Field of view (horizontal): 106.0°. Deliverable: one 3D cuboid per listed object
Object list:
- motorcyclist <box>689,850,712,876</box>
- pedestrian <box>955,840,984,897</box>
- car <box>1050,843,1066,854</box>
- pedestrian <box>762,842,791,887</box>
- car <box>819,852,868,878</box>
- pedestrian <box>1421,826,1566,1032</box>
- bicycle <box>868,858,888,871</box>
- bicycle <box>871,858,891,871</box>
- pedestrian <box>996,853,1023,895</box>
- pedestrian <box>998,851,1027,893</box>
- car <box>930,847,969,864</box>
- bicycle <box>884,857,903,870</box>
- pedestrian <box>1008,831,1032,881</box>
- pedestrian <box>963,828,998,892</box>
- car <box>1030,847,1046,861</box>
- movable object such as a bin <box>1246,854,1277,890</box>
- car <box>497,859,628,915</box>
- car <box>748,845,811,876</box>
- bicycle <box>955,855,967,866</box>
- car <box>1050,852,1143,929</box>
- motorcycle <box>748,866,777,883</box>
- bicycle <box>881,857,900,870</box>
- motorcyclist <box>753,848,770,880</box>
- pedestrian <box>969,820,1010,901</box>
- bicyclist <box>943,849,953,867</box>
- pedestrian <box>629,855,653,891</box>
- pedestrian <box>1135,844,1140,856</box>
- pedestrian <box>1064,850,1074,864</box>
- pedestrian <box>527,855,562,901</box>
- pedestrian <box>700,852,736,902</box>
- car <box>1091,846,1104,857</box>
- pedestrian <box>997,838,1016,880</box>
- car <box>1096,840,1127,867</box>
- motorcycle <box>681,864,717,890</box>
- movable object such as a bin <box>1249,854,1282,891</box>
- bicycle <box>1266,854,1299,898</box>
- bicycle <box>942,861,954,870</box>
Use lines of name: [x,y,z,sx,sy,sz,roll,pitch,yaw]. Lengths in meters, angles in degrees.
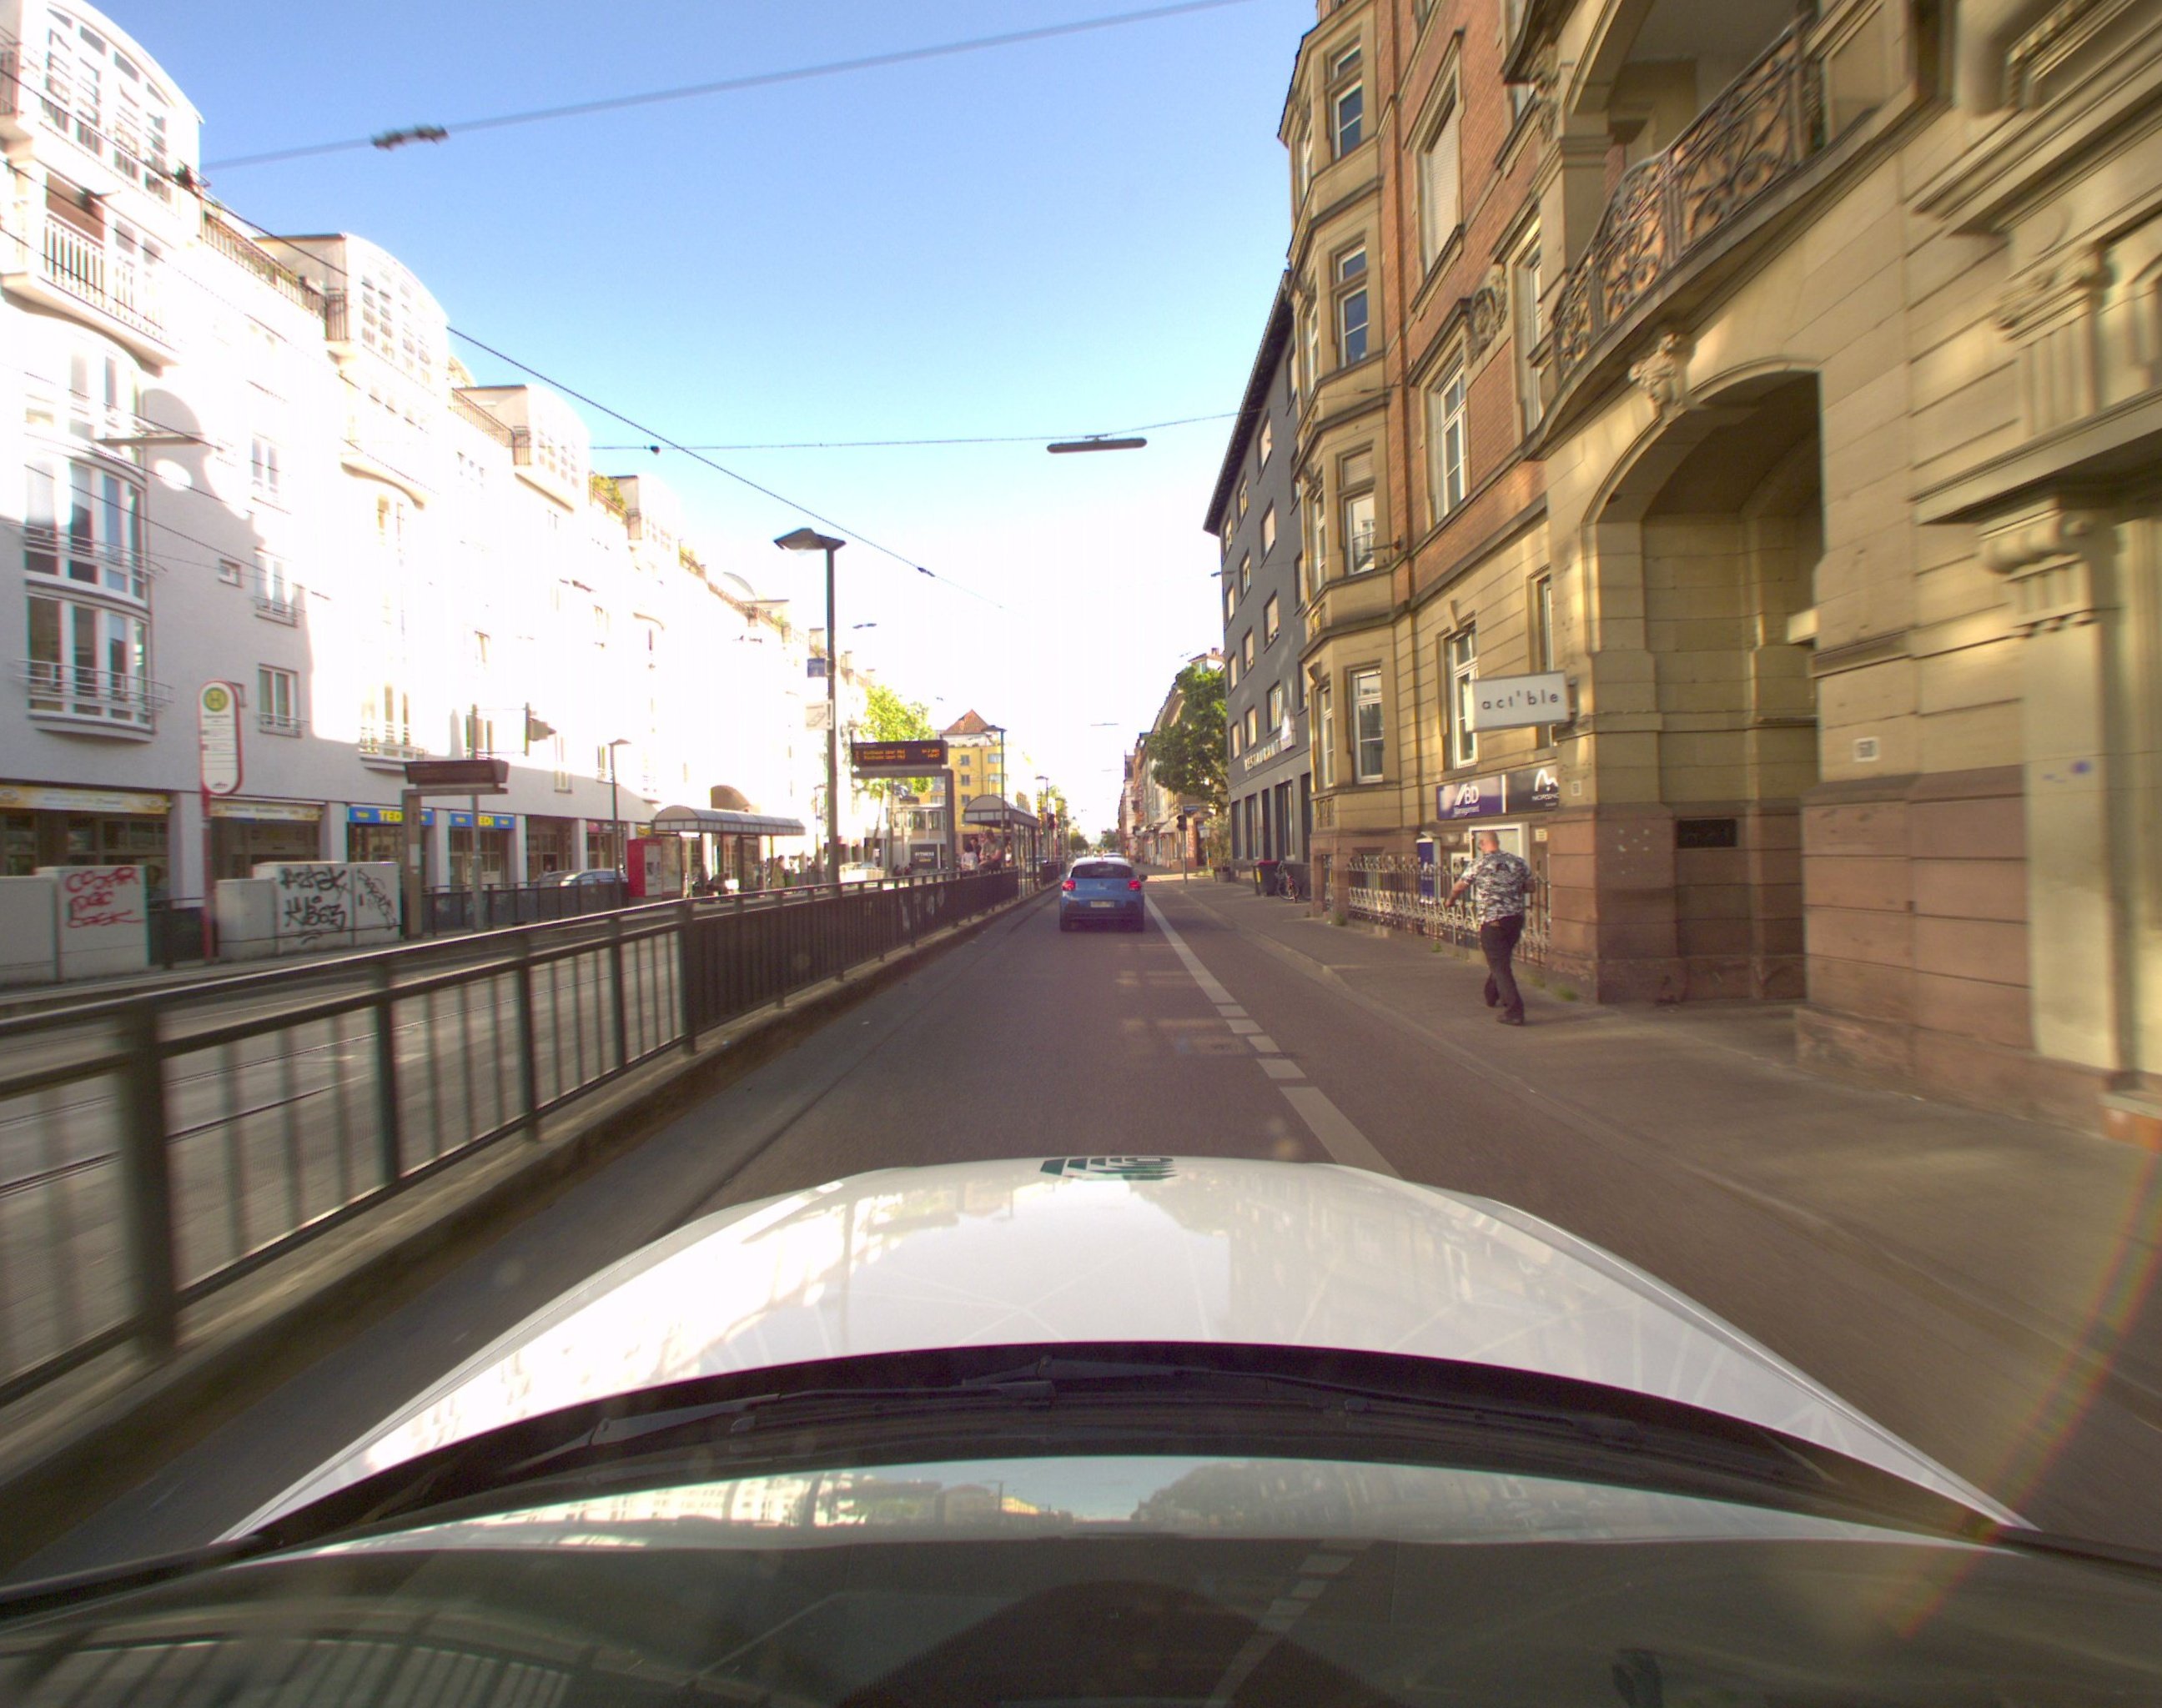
motorcyclist: [-16.139,0.377,34.531,0.556,1.074,0.828,0,-1,3]
pedestrian: [-3.085,0.394,22.492,0.579,1.562,0.473,-2,1,37]
car: [-3.320,-0.752,118.102,1.943,1.486,4.004,-3,1,3]
pedestrian: [-11.012,0.368,29.485,0.729,1.559,0.743,-1,1,0]
car: [-14.093,0.619,48.506,1.684,1.421,3.648,-1,1,2]
pedestrian: [3.776,0.626,7.541,0.777,1.749,1.093,-1,2,-1]
bicycle: [-15.375,0.783,61.666,0.387,0.940,1.505,-1,1,37]
bicycle: [-15.046,0.787,61.378,0.387,0.940,1.505,-1,1,37]
pedestrian: [-2.196,0.607,25.083,0.708,1.272,0.657,-2,0,4]
pedestrian: [-2.176,0.564,26.013,0.761,1.272,0.720,-2,0,4]
car: [-14.408,0.167,89.232,3.976,1.674,1.956,-1,1,-2]
bicycle: [-14.488,0.697,63.040,0.387,0.940,1.505,-1,1,37]
pedestrian: [-2.143,0.070,28.679,0.566,1.750,0.713,-2,0,-27]
pedestrian: [-2.830,0.170,22.978,0.710,1.777,0.569,-2,1,37]
car: [-5.430,-0.012,103.228,1.747,1.615,4.826,-3,1,0]
movable object such as a bin: [5.613,0.541,25.407,0.745,1.036,0.754,-5,0,2]
car: [-16.387,0.996,25.975,1.684,1.509,3.648,-1,1,2]
car: [-15.361,0.309,41.645,1.684,1.421,3.648,-1,1,2]
bicycle: [-12.091,0.654,82.008,0.677,1.002,2.688,-1,1,3]
car: [0.362,0.689,17.336,1.774,1.450,3.656,0,1,2]
motorcycle: [-14.877,0.951,38.069,0.491,0.720,2.007,0,0,3]
bicycle: [-14.802,0.709,63.308,0.387,0.940,1.505,-1,1,37]
motorcyclist: [-14.888,0.455,37.941,0.485,1.502,0.722,0,-1,2]
pedestrian: [-1.962,0.146,17.565,0.633,1.698,0.935,0,-1,9]
bicyclist: [-11.793,0.361,72.080,0.669,1.557,0.778,-1,1,2]
pedestrian: [-20.077,0.850,37.164,0.593,1.621,0.845,-2,0,2]
pedestrian: [7.525,-0.515,108.623,0.690,1.651,0.680,-1,1,1]
pedestrian: [-1.359,0.343,92.608,0.842,1.654,0.691,-2,1,-27]
pedestrian: [-19.834,0.878,30.125,0.840,1.621,0.597,-2,0,-3]
pedestrian: [-11.344,0.709,25.480,0.729,1.527,0.743,-1,1,0]
car: [2.555,-0.409,127.284,1.986,1.743,4.002,0,0,2]
pedestrian: [-2.795,0.187,30.606,0.619,1.558,0.568,-1,0,2]
car: [2.005,-0.005,54.386,1.986,1.743,4.002,0,0,2]
motorcycle: [-16.166,0.948,34.514,0.556,1.074,1.846,0,-1,3]
movable object such as a bin: [5.580,0.550,24.648,0.745,1.036,0.754,-5,0,2]
bicycle: [5.414,0.567,21.907,0.457,1.123,1.774,-3,0,2]
bicycle: [-11.770,1.008,72.058,0.564,0.757,1.939,-1,1,3]
